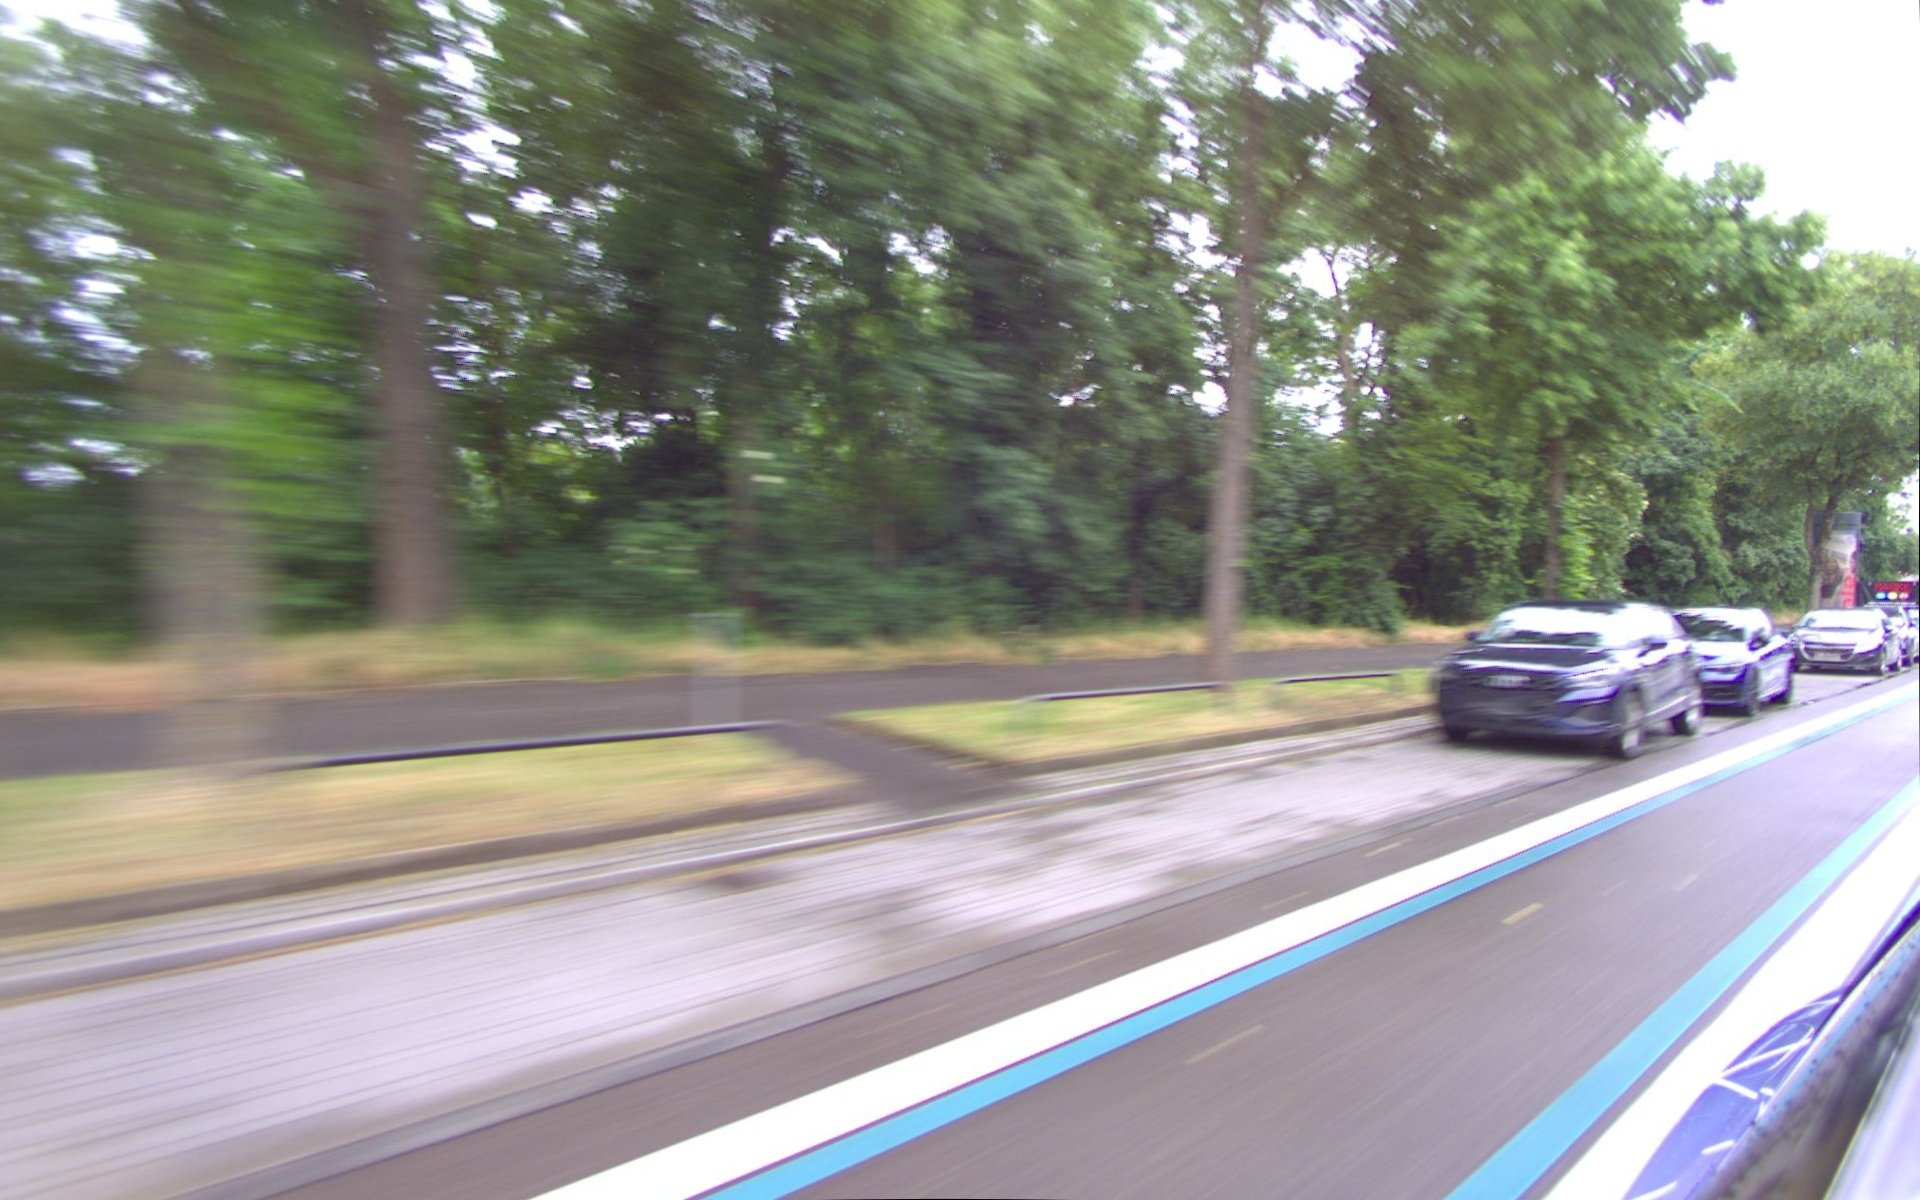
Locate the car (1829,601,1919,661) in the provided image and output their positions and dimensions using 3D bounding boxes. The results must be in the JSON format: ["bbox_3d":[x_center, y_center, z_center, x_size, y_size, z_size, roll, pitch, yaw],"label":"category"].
[{"bbox_3d":[24.532,0.773,26.786,3.931,1.420,1.803,0,1,-41],"label":"car"}]

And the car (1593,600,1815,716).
[{"bbox_3d":[10.832,0.725,14.648,3.931,1.395,1.803,0,1,-41],"label":"car"}]

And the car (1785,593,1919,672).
[{"bbox_3d":[20.317,0.668,23.008,3.931,1.618,1.803,0,1,-41],"label":"car"}]

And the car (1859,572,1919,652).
[{"bbox_3d":[28.797,0.320,30.529,3.930,2.273,1.997,-1,0,-41],"label":"car"}]

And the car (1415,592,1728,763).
[{"bbox_3d":[6.696,0.676,10.923,3.931,1.482,1.803,0,1,-41],"label":"car"}]

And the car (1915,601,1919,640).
[{"bbox_3d":[36.296,0.714,36.833,3.930,1.386,1.861,-1,1,-41],"label":"car"}]
